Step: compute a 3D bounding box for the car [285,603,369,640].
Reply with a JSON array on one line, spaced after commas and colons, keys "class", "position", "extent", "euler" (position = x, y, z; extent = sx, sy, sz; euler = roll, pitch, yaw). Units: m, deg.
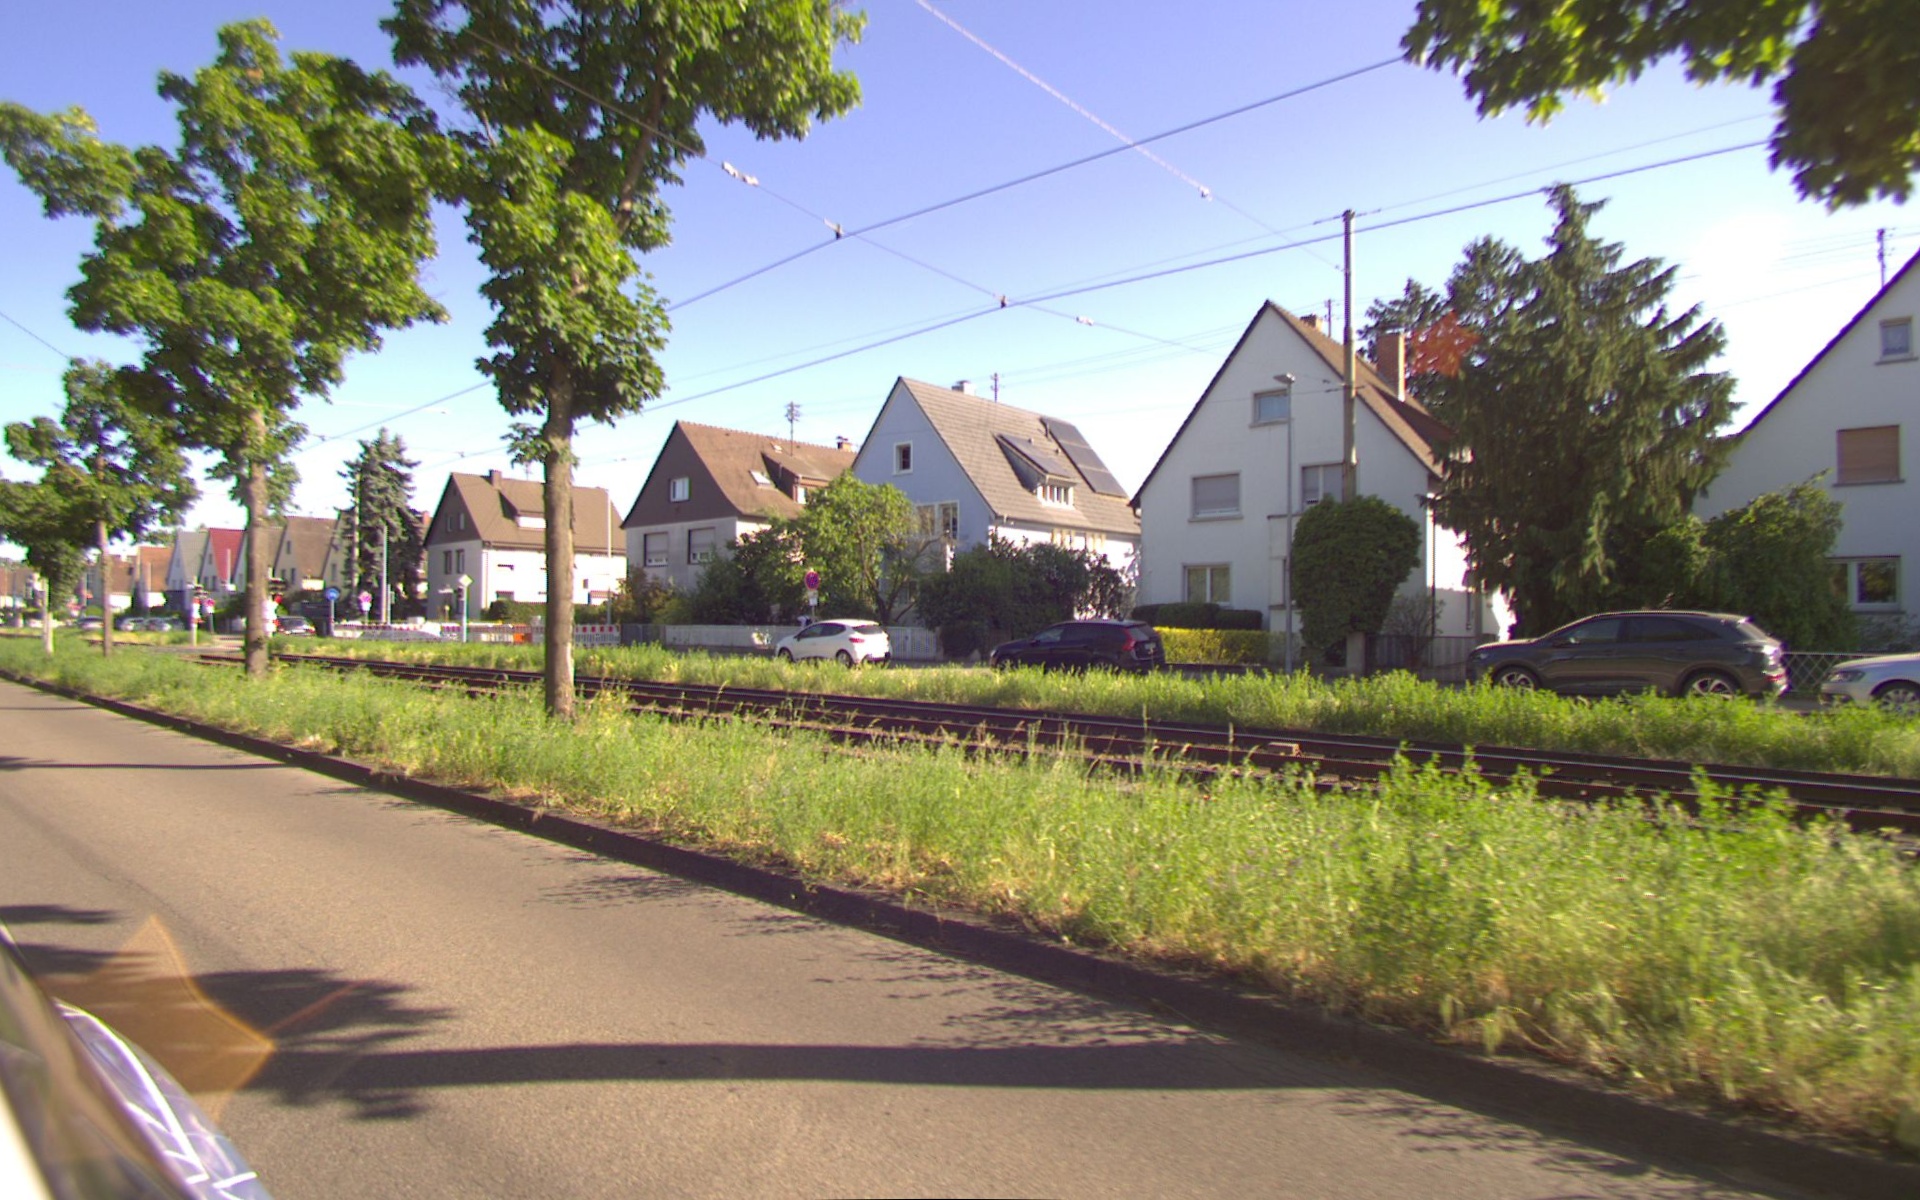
[{"class": "car", "position": [-47.601, 1.628, 76.139], "extent": [2.101, 2.645, 4.977], "euler": [-2, -2, 40]}]

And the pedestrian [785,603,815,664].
[{"class": "pedestrian", "position": [-5.452, 1.138, 34.533], "extent": [0.772, 2.029, 0.674], "euler": [-1, 0, 40]}]

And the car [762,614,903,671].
[{"class": "car", "position": [-3.891, 1.226, 30.505], "extent": [4.225, 1.553, 1.841], "euler": [-1, 0, 41]}]

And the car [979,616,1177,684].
[{"class": "car", "position": [2.766, 1.132, 24.424], "extent": [4.599, 1.477, 1.711], "euler": [-1, 0, 41]}]

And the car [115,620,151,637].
[{"class": "car", "position": [-77.463, 2.659, 94.796], "extent": [4.410, 1.437, 1.972], "euler": [-1, 0, 43]}]

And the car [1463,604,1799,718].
[{"class": "car", "position": [11.185, 0.918, 17.081], "extent": [4.552, 1.663, 1.730], "euler": [-1, 0, 41]}]

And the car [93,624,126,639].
[{"class": "car", "position": [-87.557, 3.236, 104.182], "extent": [4.253, 1.506, 1.906], "euler": [-1, 0, 41]}]

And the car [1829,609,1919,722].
[{"class": "car", "position": [15.229, 0.919, 14.057], "extent": [4.778, 1.557, 1.973], "euler": [-1, 0, 41]}]

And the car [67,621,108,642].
[{"class": "car", "position": [-72.246, 2.605, 83.789], "extent": [4.470, 1.615, 1.973], "euler": [-1, 0, 41]}]

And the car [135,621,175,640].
[{"class": "car", "position": [-70.643, 2.638, 88.804], "extent": [4.125, 1.460, 1.973], "euler": [-1, 2, 41]}]

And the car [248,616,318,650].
[{"class": "car", "position": [-33.339, 1.590, 49.819], "extent": [4.807, 1.564, 1.643], "euler": [-1, 0, 41]}]

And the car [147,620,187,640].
[{"class": "car", "position": [-67.150, 2.501, 85.684], "extent": [4.054, 1.565, 1.927], "euler": [-1, 0, 41]}]
